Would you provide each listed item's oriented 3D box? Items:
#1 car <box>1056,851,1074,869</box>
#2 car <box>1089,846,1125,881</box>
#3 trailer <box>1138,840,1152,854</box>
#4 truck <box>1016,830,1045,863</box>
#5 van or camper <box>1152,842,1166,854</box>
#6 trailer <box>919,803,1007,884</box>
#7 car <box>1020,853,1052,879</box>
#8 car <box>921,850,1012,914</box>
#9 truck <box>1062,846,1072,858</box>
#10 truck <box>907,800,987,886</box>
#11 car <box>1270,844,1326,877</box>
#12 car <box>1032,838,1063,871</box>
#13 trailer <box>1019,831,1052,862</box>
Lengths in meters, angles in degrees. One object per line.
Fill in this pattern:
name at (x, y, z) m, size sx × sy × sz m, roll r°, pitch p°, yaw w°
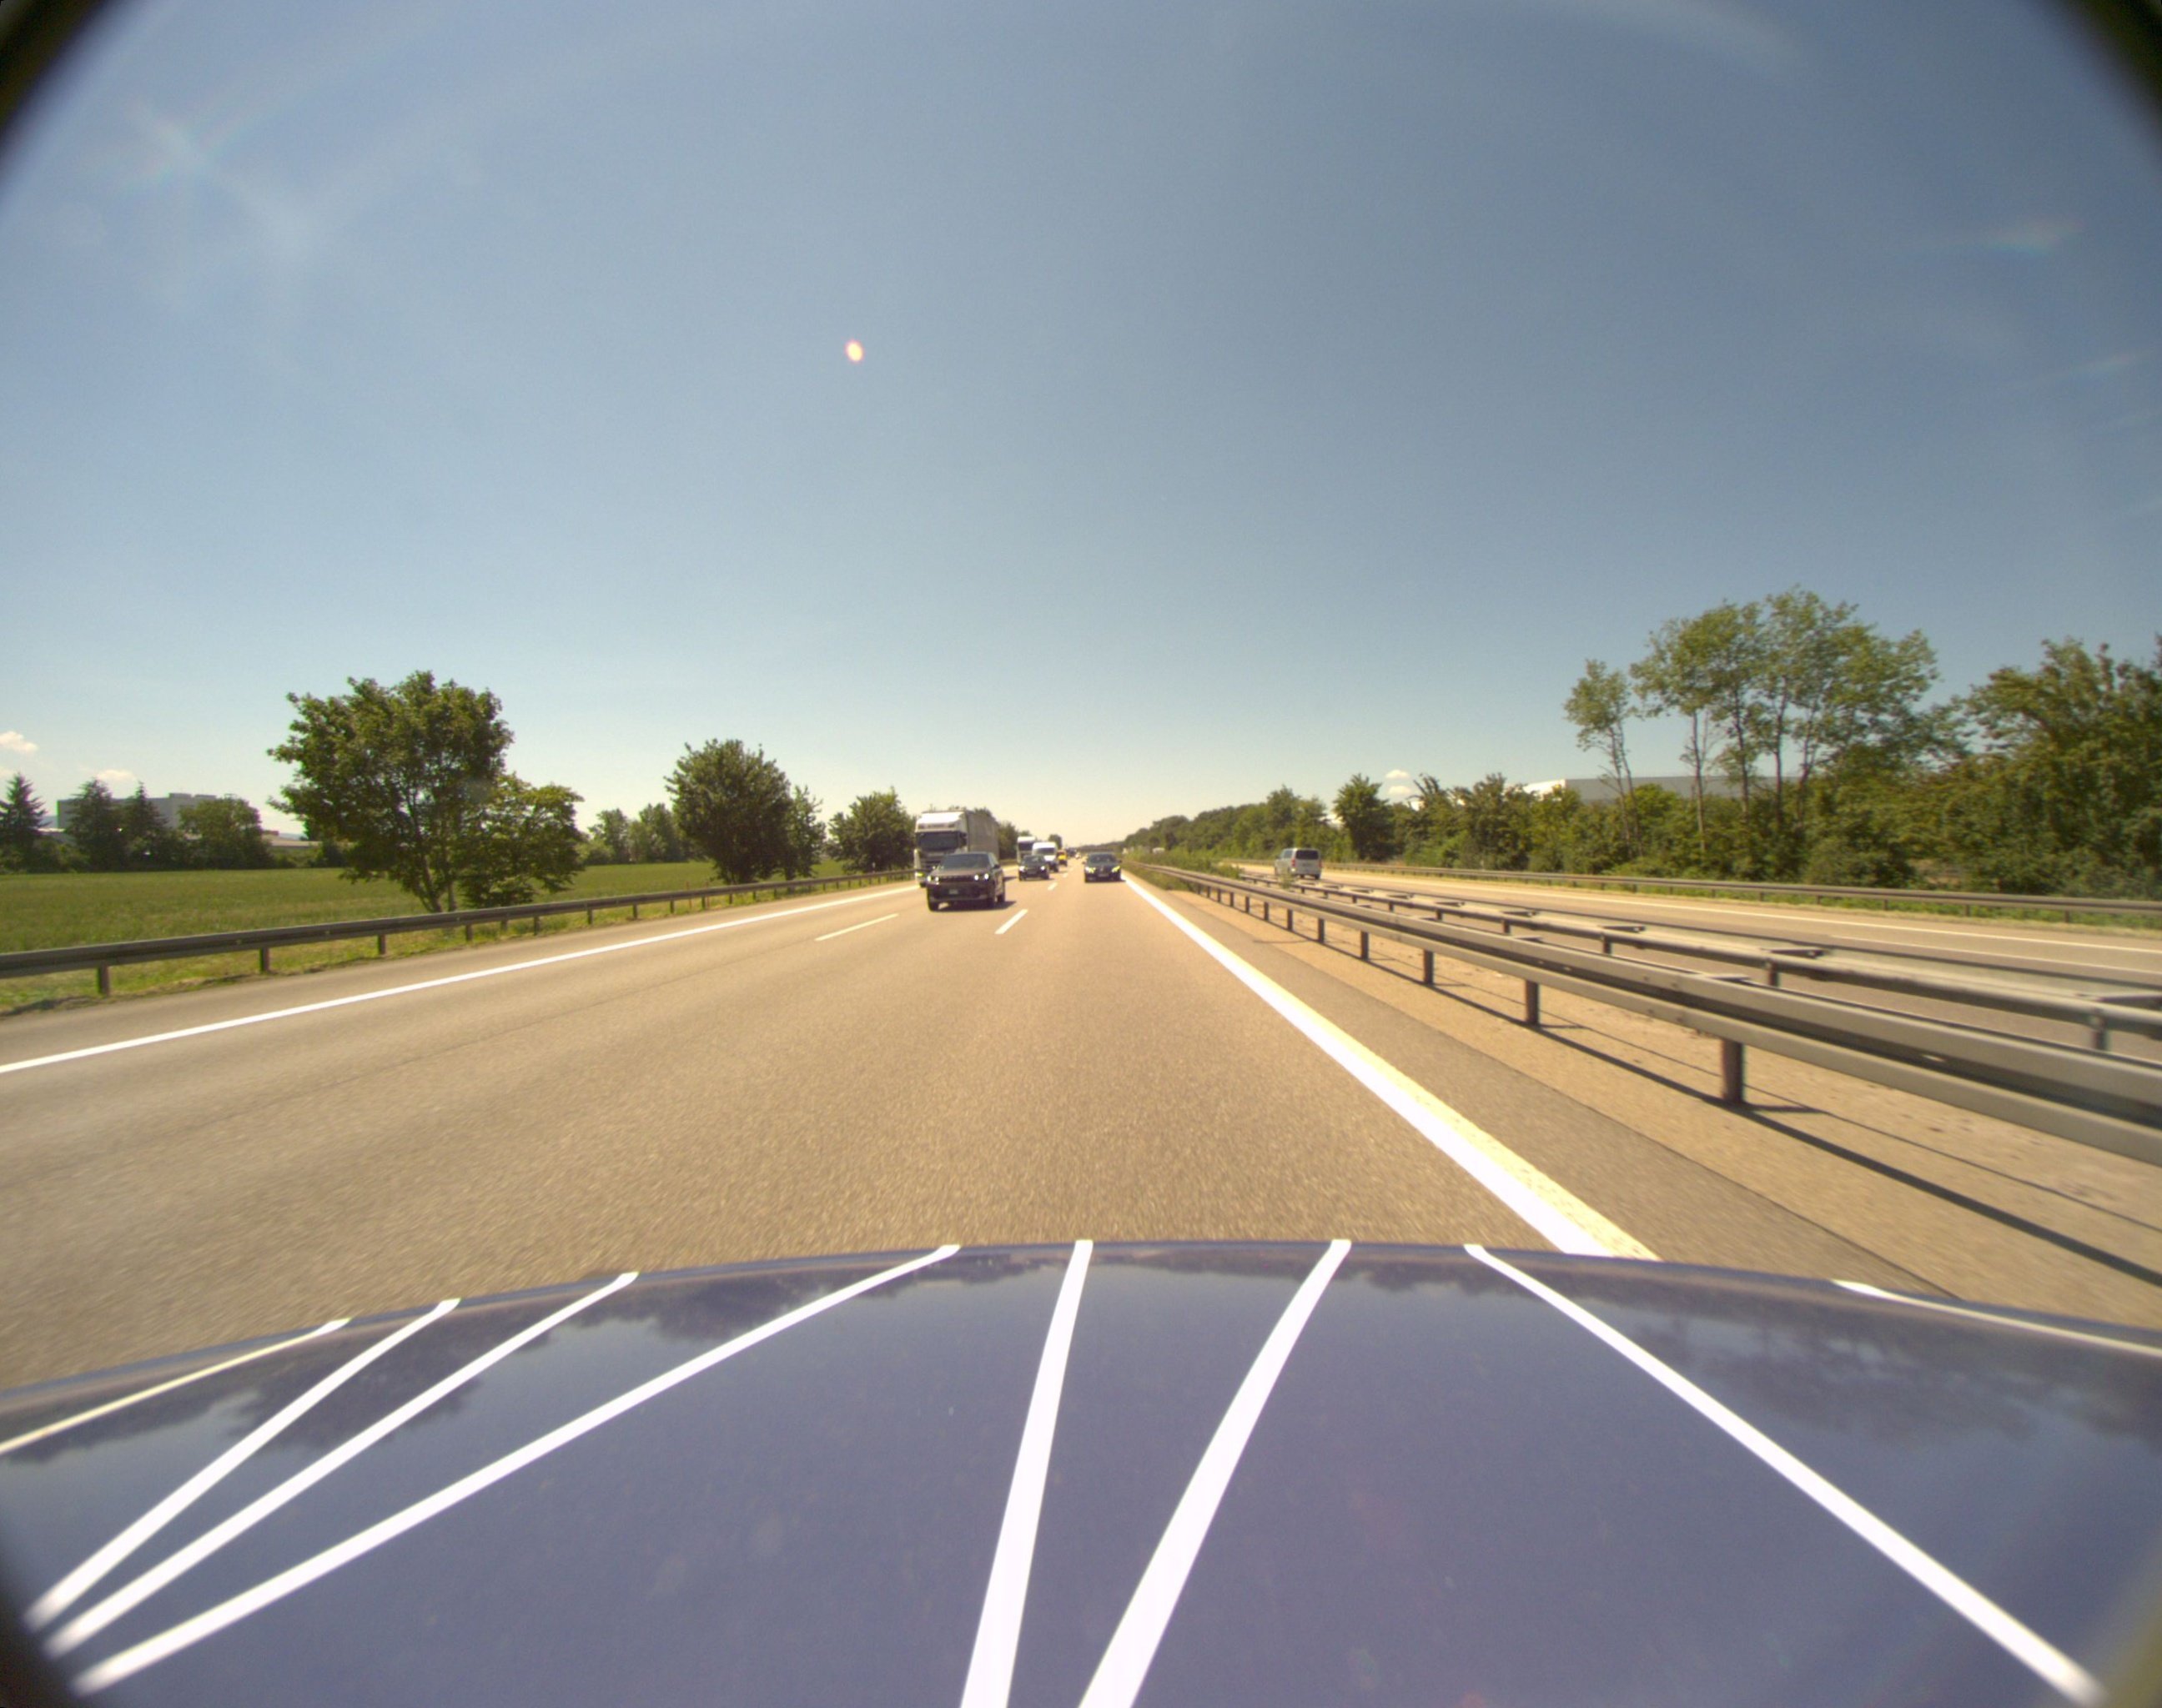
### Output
car at (-1.836, 0.695, 88.095) m, size 1.958 × 1.939 × 4.000 m, roll -2°, pitch 1°, yaw 0°
car at (1.320, 0.458, 38.799) m, size 1.690 × 1.646 × 3.462 m, roll -2°, pitch 1°, yaw 2°
trailer at (19.623, -2.267, 234.472) m, size 2.985 × 4.188 × 13.730 m, roll 0°, pitch 2°, yaw 0°
truck at (-6.530, -0.954, 99.638) m, size 2.699 × 3.943 × 7.705 m, roll -2°, pitch 0°, yaw 3°
van or camper at (19.545, -1.571, 190.436) m, size 2.857 × 2.952 × 7.446 m, roll 1°, pitch 1°, yaw 1°
trailer at (-7.108, -0.628, 48.554) m, size 2.816 × 4.279 × 14.254 m, roll -2°, pitch 0°, yaw 2°
car at (-2.661, 0.684, 45.398) m, size 1.692 × 1.465 × 3.432 m, roll -2°, pitch 0°, yaw 0°
car at (-3.359, 0.768, 23.294) m, size 1.871 × 1.665 × 4.746 m, roll -2°, pitch 0°, yaw 2°
truck at (-4.507, -0.729, 246.722) m, size 2.976 × 3.626 × 7.148 m, roll -2°, pitch 1°, yaw -2°
truck at (-7.291, -0.579, 42.474) m, size 2.816 × 4.279 × 7.193 m, roll -2°, pitch 1°, yaw 2°
car at (13.647, 0.382, 48.043) m, size 2.046 × 1.913 × 5.227 m, roll 1°, pitch 0°, yaw 0°
car at (-2.710, -0.011, 62.550) m, size 2.159 × 2.494 × 5.945 m, roll -2°, pitch 0°, yaw 0°
trailer at (-6.181, -0.981, 105.361) m, size 2.699 × 3.943 × 13.963 m, roll -2°, pitch 0°, yaw 3°
